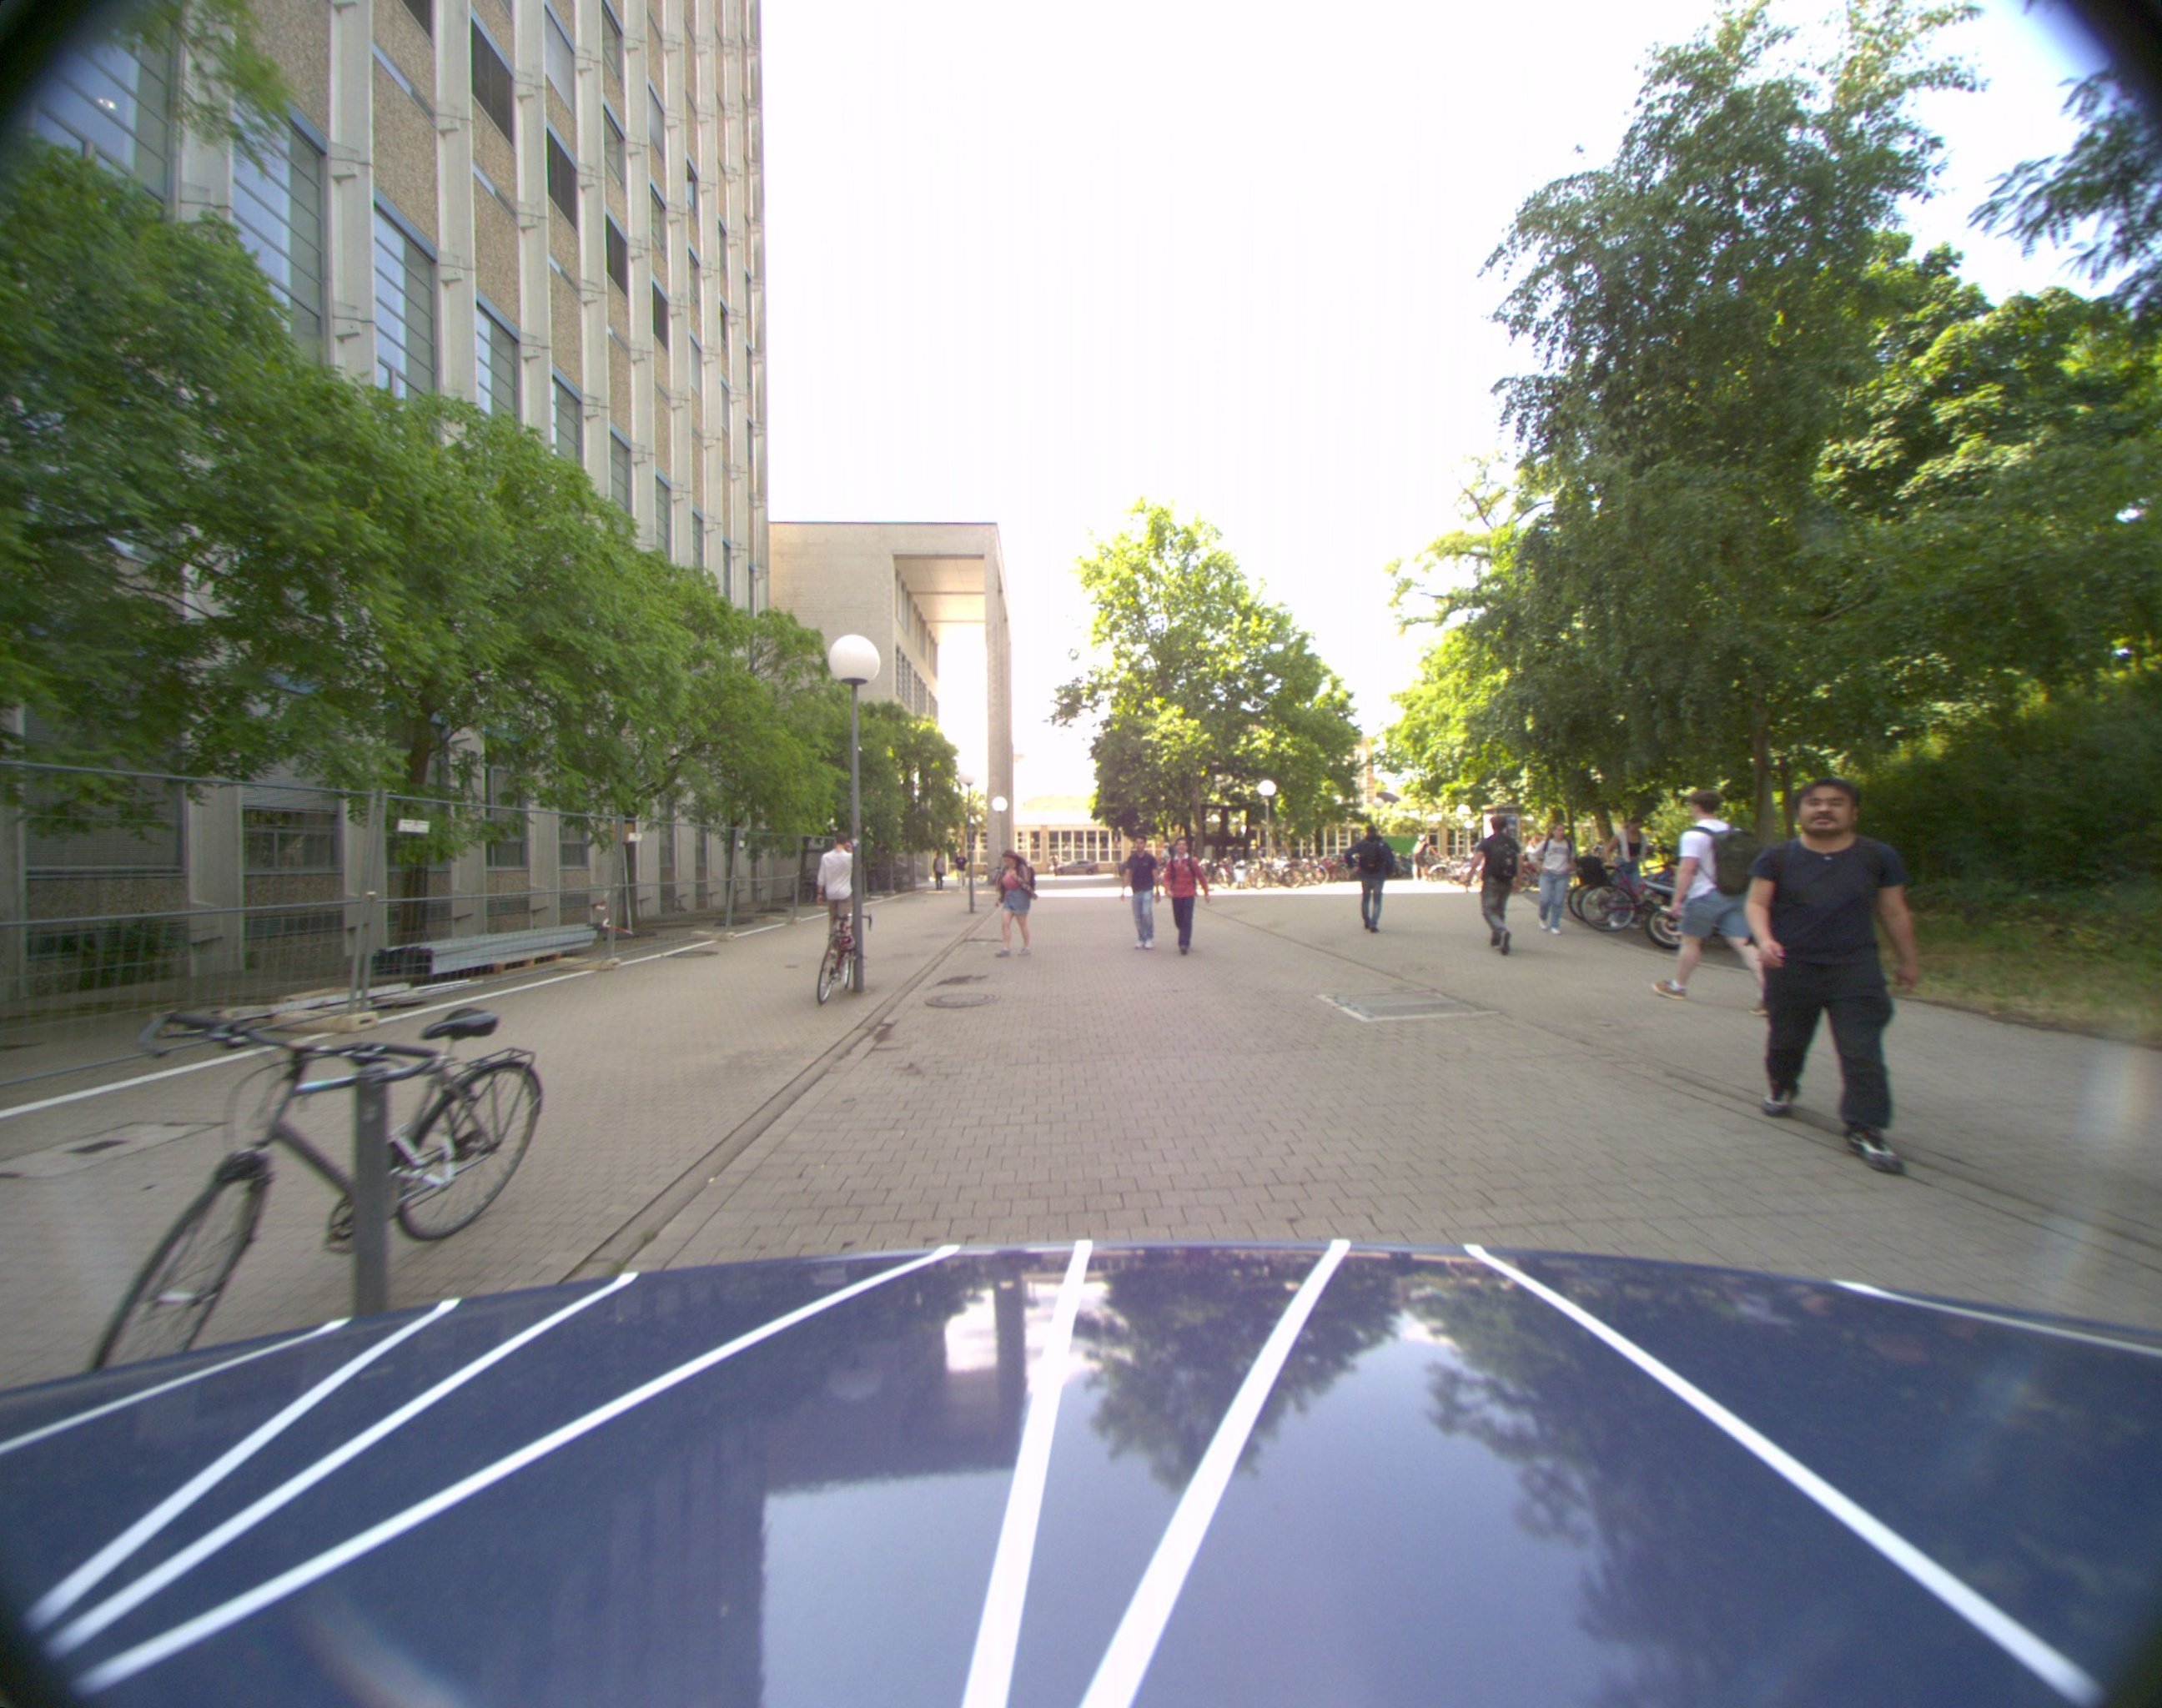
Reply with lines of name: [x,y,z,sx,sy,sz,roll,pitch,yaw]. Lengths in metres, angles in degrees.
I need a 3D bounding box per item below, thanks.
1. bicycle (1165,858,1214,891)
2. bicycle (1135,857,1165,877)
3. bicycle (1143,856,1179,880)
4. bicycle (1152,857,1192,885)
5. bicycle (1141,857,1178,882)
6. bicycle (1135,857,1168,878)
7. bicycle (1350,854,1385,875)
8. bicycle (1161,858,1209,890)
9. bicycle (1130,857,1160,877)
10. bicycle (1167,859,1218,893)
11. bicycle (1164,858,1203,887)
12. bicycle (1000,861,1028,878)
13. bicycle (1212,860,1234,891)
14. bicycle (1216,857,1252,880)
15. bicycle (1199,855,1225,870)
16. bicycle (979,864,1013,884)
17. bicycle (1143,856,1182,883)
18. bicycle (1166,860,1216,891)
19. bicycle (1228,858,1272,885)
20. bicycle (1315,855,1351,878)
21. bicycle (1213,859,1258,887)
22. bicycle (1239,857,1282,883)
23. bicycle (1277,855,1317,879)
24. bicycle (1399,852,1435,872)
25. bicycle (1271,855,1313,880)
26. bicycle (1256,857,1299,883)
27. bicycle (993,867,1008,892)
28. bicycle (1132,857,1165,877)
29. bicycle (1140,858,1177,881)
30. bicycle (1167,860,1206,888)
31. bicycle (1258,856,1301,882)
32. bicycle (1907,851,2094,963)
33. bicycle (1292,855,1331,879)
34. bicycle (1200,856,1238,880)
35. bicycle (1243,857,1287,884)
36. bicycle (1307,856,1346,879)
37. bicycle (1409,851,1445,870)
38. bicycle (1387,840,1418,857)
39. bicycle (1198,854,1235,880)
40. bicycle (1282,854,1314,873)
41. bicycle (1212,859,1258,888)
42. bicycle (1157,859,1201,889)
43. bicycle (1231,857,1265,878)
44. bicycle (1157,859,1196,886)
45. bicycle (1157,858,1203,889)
bicycle: [4.032,0.760,28.229,1.699,1.161,0.474,-1,1,-8]
bicycle: [3.878,0.730,42.825,1.627,1.137,0.497,-1,1,12]
bicycle: [4.047,0.711,38.487,1.740,1.172,0.497,-1,1,-3]
bicycle: [4.096,0.753,34.110,1.700,1.181,0.473,-1,1,-13]
bicycle: [3.824,0.740,36.914,1.700,1.139,0.473,-1,1,-14]
bicycle: [3.828,0.724,41.296,1.740,1.101,0.497,-1,1,-2]
bicycle: [14.948,0.555,39.656,0.475,1.077,1.695,-2,1,-40]
bicycle: [3.977,0.758,29.079,1.778,1.161,0.474,-1,1,11]
bicycle: [3.648,0.738,43.428,1.627,1.101,0.497,-1,1,12]
bicycle: [3.959,0.775,26.995,1.700,1.152,0.473,-1,1,-11]
bicycle: [4.379,0.771,32.447,1.702,1.151,0.473,-2,1,-29]
bicycle: [-4.567,1.055,51.947,1.886,1.157,0.604,1,-1,-7]
bicycle: [5.271,0.778,28.192,0.508,1.077,1.699,-1,1,1]
bicycle: [7.918,0.755,39.418,1.695,1.193,0.577,-1,1,34]
bicycle: [9.605,0.612,55.857,1.839,1.101,0.393,-1,1,-9]
bicycle: [-4.415,1.029,39.465,1.744,1.033,0.449,0,-1,-7]
bicycle: [3.801,0.733,35.482,1.700,1.192,0.536,-1,1,-10]
bicycle: [3.966,0.774,27.465,1.699,1.085,0.474,-1,1,-8]
bicycle: [6.916,0.710,31.105,1.695,1.077,0.475,-1,1,33]
bicycle: [12.371,0.604,37.337,0.475,1.077,1.695,-2,1,-40]
bicycle: [6.179,0.744,30.414,1.697,1.077,0.474,-1,1,11]
bicycle: [7.615,0.684,32.316,1.695,1.077,0.475,-1,1,29]
bicycle: [9.884,0.584,34.807,1.695,1.077,0.475,-1,1,34]
bicycle: [19.340,0.467,43.812,0.475,1.077,1.854,-2,1,-40]
bicycle: [9.390,0.609,33.807,1.695,1.077,0.475,-1,1,34]
bicycle: [8.410,0.673,32.479,1.695,1.077,0.475,-1,1,34]
bicycle: [-3.436,1.078,32.591,0.538,1.033,1.858,0,0,-2]
bicycle: [3.761,0.729,42.167,1.737,1.101,0.575,-1,1,17]
bicycle: [3.823,0.753,37.439,1.700,1.101,0.496,-1,1,-13]
bicycle: [4.350,0.805,31.242,1.703,1.055,0.473,-2,1,-37]
bicycle: [8.598,0.648,32.928,1.695,1.077,0.475,-1,1,34]
bicycle: [9.875,0.523,8.250,0.473,1.041,1.702,-3,1,20]
bicycle: [10.737,0.615,35.477,1.695,1.077,0.475,-1,1,42]
bicycle: [6.508,0.657,35.882,1.700,1.101,0.502,-1,1,-13]
bicycle: [7.690,0.681,31.707,1.695,1.077,0.475,-1,1,29]
bicycle: [11.698,0.632,36.269,1.695,1.077,0.475,-1,1,42]
bicycle: [20.191,0.407,44.333,0.475,1.077,1.854,-2,1,-40]
bicycle: [24.105,-0.431,57.012,1.882,1.164,0.807,-5,-2,42]
bicycle: [6.572,0.619,36.942,1.700,1.213,0.502,-1,1,-13]
bicycle: [12.577,0.558,44.127,0.504,1.101,1.775,-2,1,-40]
bicycle: [5.928,0.750,29.332,1.697,1.077,0.474,-1,1,10]
bicycle: [3.902,0.784,30.330,1.701,1.161,0.473,-2,1,-19]
bicycle: [8.925,0.717,40.628,1.695,1.101,0.504,-1,1,34]
bicycle: [4.150,0.769,32.852,1.702,1.101,0.473,-2,1,-29]
bicycle: [3.894,0.768,29.787,1.700,1.161,0.473,-1,1,-15]
